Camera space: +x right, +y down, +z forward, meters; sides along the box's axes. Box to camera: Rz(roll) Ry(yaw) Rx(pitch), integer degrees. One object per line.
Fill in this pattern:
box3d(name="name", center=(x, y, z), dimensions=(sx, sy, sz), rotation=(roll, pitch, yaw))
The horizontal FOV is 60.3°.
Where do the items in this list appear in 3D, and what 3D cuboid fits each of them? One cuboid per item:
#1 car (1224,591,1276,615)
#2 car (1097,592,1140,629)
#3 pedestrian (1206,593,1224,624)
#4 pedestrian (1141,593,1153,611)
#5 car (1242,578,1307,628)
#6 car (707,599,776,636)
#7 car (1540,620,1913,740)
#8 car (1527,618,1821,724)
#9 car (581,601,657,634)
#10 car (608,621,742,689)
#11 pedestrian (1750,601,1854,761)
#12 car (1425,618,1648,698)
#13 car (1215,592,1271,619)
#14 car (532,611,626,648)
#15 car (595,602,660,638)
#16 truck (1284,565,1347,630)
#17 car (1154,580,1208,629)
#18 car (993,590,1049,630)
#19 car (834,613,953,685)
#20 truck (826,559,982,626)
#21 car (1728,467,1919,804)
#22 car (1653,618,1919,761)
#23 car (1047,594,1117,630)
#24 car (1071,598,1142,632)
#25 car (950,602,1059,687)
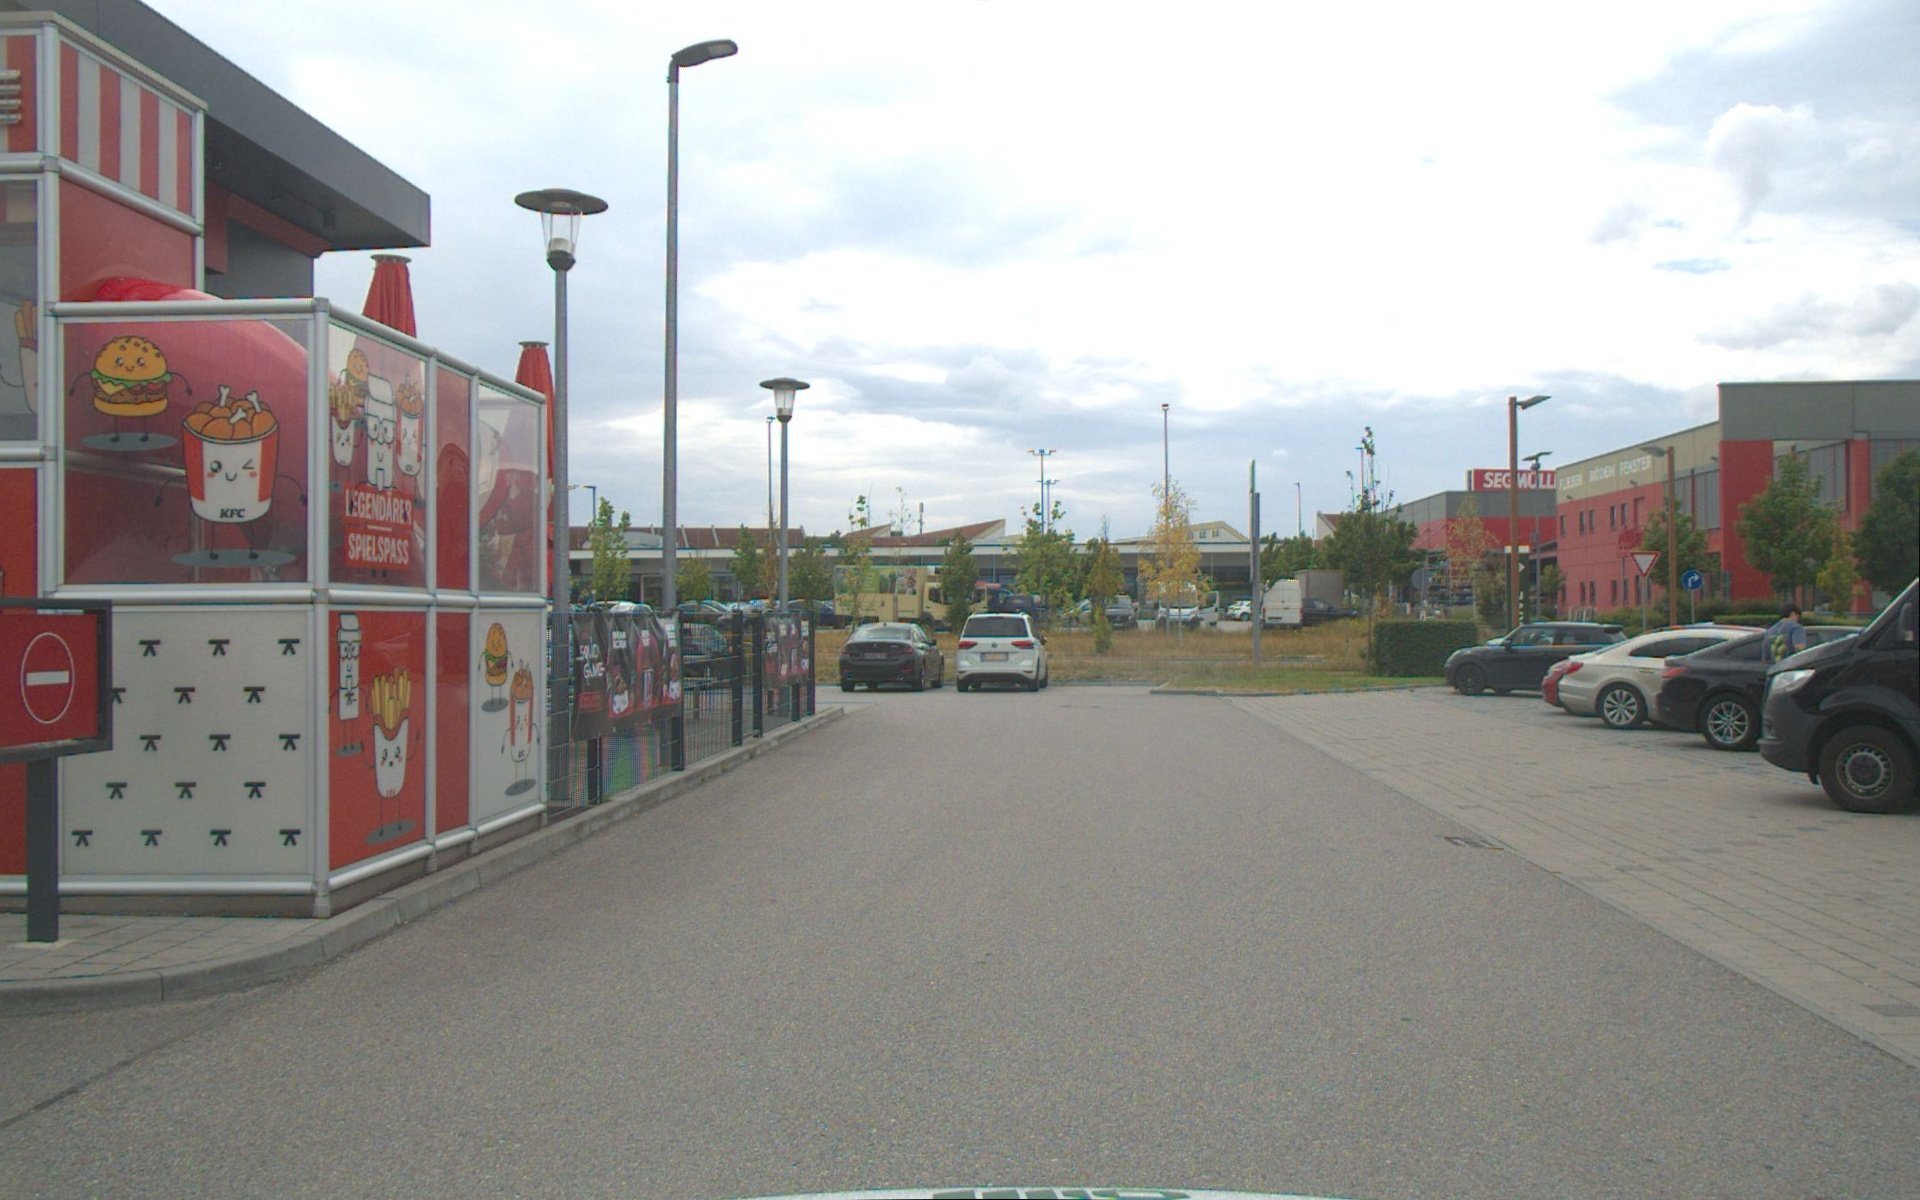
box3d(name="car", center=(22.287, 0.225, 127.164), dimensions=(3.902, 1.766, 1.936), rotation=(0, 1, 8))
box3d(name="car", center=(7.786, 0.491, 81.410), dimensions=(2.027, 1.667, 5.074), rotation=(0, 1, 5))
box3d(name="pedestrian", center=(12.315, 0.400, 79.847), dimensions=(0.768, 1.454, 0.979), rotation=(0, 1, 5))
box3d(name="pedestrian", center=(15.920, 0.155, 140.551), dimensions=(0.644, 1.454, 0.790), rotation=(-1, 1, -32))
box3d(name="car", center=(15.311, 0.088, 80.851), dimensions=(2.289, 2.307, 6.509), rotation=(-1, 1, 3))
box3d(name="car", center=(-11.352, 0.894, 86.210), dimensions=(1.884, 1.802, 4.324), rotation=(0, 1, 18))
box3d(name="car", center=(10.504, 1.036, 22.878), dimensions=(4.384, 1.437, 1.741), rotation=(1, -1, 45))
box3d(name="car", center=(11.154, 1.058, 25.989), dimensions=(3.931, 1.490, 1.676), rotation=(1, -1, 43))
box3d(name="car", center=(-19.567, 0.983, 95.002), dimensions=(3.910, 1.802, 1.998), rotation=(0, 1, 28))
box3d(name="car", center=(-6.354, 1.246, 37.341), dimensions=(1.842, 1.437, 4.073), rotation=(0, -2, 7))
box3d(name="pedestrian", center=(9.296, 0.877, 18.267), dimensions=(0.743, 1.707, 0.829), rotation=(3, -2, -44))
box3d(name="car", center=(11.380, 1.108, 32.784), dimensions=(3.861, 1.437, 1.677), rotation=(1, -1, 42))
box3d(name="car", center=(20.325, 0.402, 118.783), dimensions=(3.902, 1.870, 2.002), rotation=(0, 1, 8))
box3d(name="car", center=(-15.281, 1.182, 66.369), dimensions=(3.374, 1.394, 1.434), rotation=(0, 1, 9))
box3d(name="car", center=(-17.812, 1.056, 88.878), dimensions=(1.951, 1.802, 4.325), rotation=(0, 1, 10))
box3d(name="truck", center=(21.654, -0.207, 101.137), dimensions=(2.592, 3.808, 8.261), rotation=(-1, 1, 4))
box3d(name="car", center=(10.799, 0.171, 81.205), dimensions=(2.357, 2.253, 6.064), rotation=(0, 1, 5))
box3d(name="car", center=(3.098, 0.491, 82.849), dimensions=(2.027, 1.918, 5.074), rotation=(0, -1, 11))
box3d(name="car", center=(-1.399, 1.106, 36.744), dimensions=(1.900, 1.492, 4.519), rotation=(0, -2, 7))
box3d(name="truck", center=(-2.934, -0.411, 84.228), dimensions=(8.286, 3.252, 3.010), rotation=(0, 1, 44))
box3d(name="car", center=(9.556, 0.302, 12.082), dimensions=(2.058, 2.598, 6.896), rotation=(1, -1, -45))
box3d(name="car", center=(10.433, 0.993, 18.930), dimensions=(1.674, 1.489, 4.336), rotation=(1, -1, -44))
box3d(name="car", center=(7.155, 0.696, 96.941), dimensions=(3.906, 2.049, 1.999), rotation=(-1, 1, -2))
box3d(name="car", center=(8.174, 0.830, 92.562), dimensions=(3.903, 1.768, 1.892), rotation=(-1, 1, 5))
box3d(name="car", center=(1.050, 1.004, 36.348), dimensions=(1.943, 1.743, 4.375), rotation=(0, -2, 7))
